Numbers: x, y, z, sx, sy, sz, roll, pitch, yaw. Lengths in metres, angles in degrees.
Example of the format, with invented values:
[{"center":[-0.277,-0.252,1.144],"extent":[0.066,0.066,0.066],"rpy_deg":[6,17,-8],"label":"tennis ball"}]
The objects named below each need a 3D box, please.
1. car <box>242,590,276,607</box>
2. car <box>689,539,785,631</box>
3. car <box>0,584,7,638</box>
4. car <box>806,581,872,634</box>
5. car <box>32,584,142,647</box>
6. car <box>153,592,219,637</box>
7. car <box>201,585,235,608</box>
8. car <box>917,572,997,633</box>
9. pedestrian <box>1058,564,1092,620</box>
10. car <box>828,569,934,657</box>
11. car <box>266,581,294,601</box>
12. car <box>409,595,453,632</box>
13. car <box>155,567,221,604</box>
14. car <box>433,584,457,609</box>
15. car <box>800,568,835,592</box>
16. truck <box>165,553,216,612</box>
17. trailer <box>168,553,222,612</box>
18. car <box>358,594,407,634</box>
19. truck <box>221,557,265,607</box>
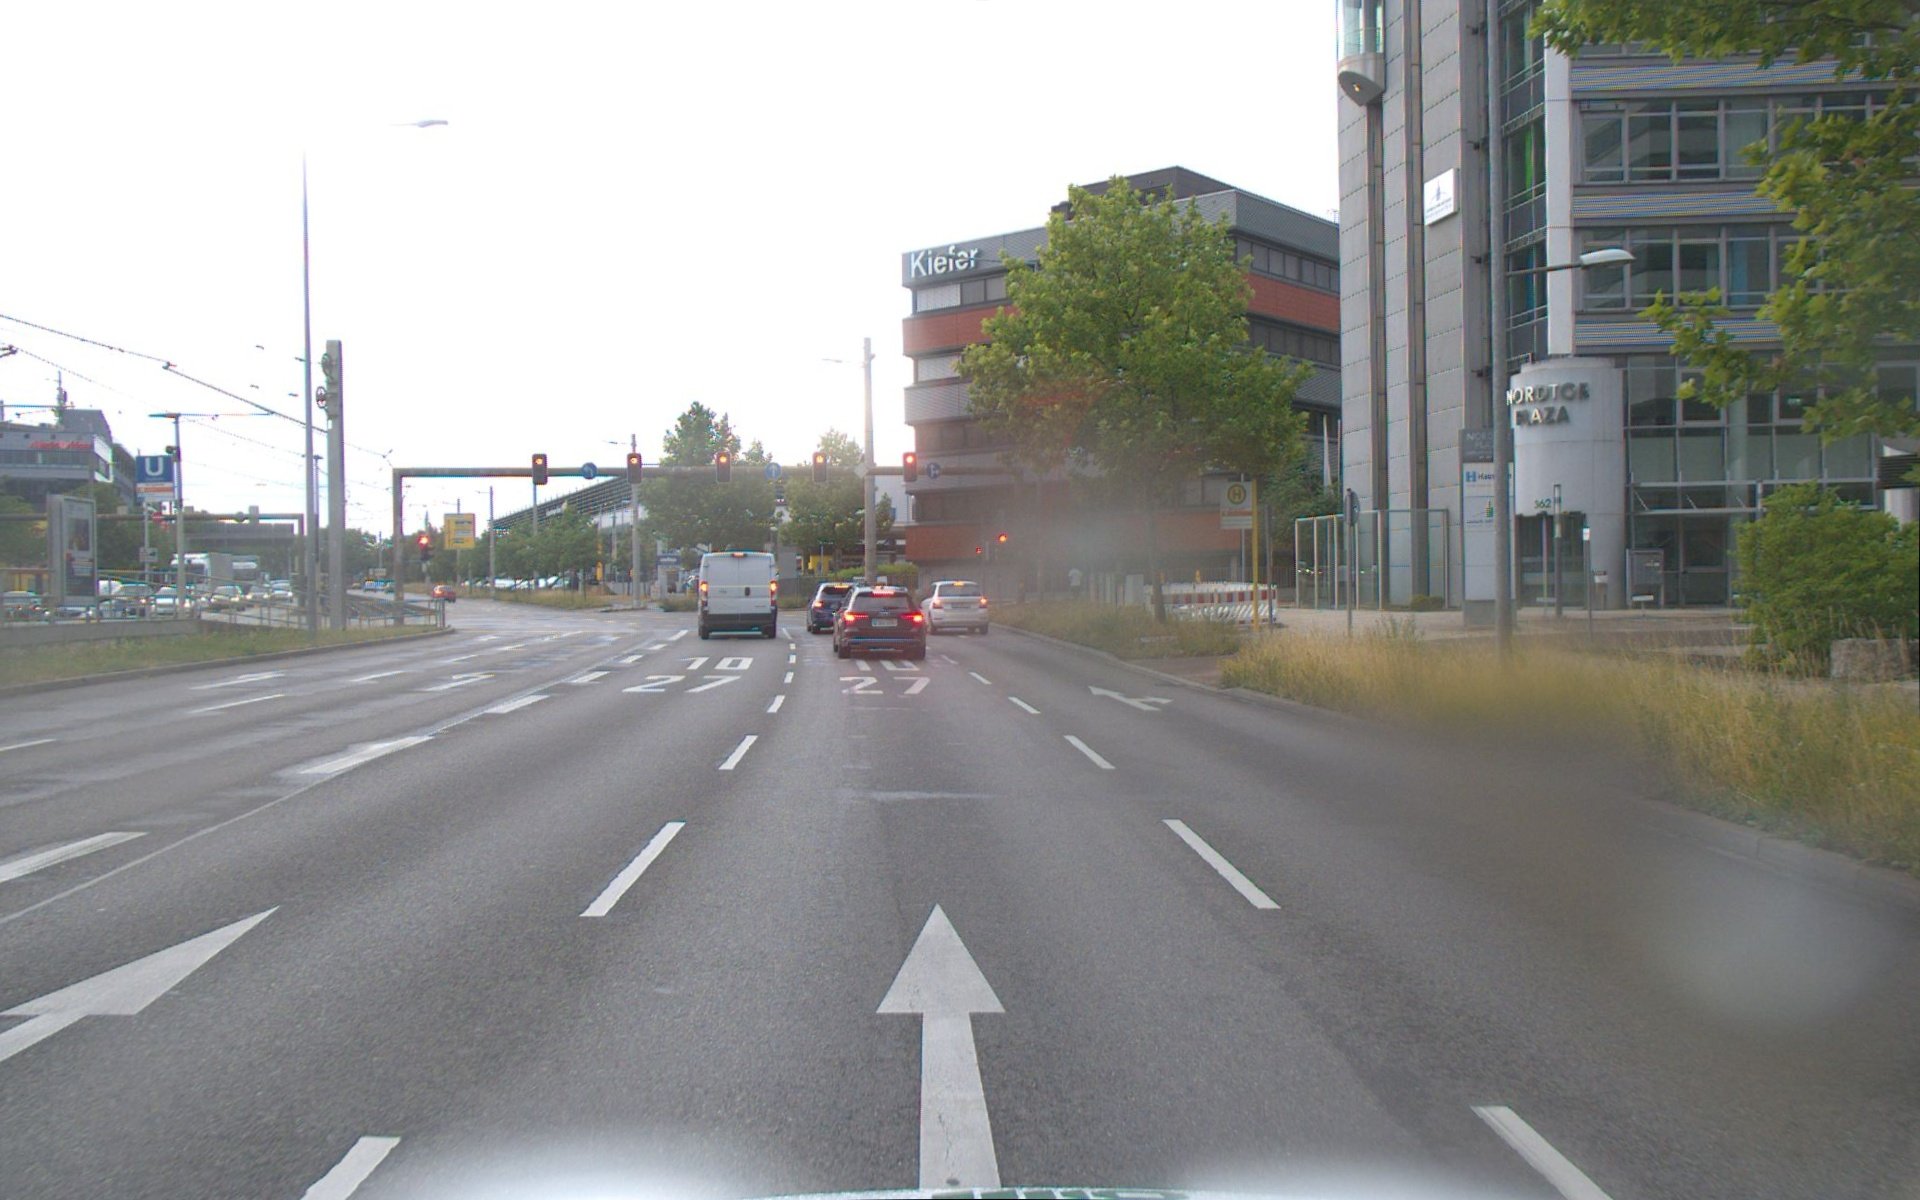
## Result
[{"center":[-54.259,-0.110,128.119],"extent":[1.877,1.286,4.395],"rpy_deg":[1,-1,-16],"label":"car"},{"center":[-6.173,-0.380,45.364],"extent":[2.401,2.334,4.893],"rpy_deg":[1,-1,-10],"label":"car"},{"center":[-31.701,0.321,51.337],"extent":[1.957,1.761,5.019],"rpy_deg":[1,-1,-9],"label":"car"},{"center":[-3.568,0.228,48.798],"extent":[1.857,1.491,3.905],"rpy_deg":[-1,0,-4],"label":"car"},{"center":[-33.272,0.581,63.200],"extent":[1.956,2.253,5.136],"rpy_deg":[1,-1,-7],"label":"car"},{"center":[-37.150,0.685,79.444],"extent":[1.740,2.049,4.337],"rpy_deg":[1,-1,-10],"label":"car"},{"center":[-49.110,-0.215,109.543],"extent":[1.713,1.488,4.128],"rpy_deg":[1,-1,-20],"label":"car"},{"center":[-0.130,0.076,47.298],"extent":[1.794,1.685,3.993],"rpy_deg":[0,0,-7],"label":"car"},{"center":[4.568,-0.329,65.719],"extent":[1.121,2.162,1.221],"rpy_deg":[-2,2,-6],"label":"pedestrian"},{"center":[-1.689,0.267,34.140],"extent":[1.955,1.666,3.995],"rpy_deg":[1,-1,-6],"label":"car"},{"center":[-59.971,-0.739,145.881],"extent":[1.857,1.681,4.076],"rpy_deg":[1,-1,-17],"label":"car"},{"center":[-30.637,0.758,95.887],"extent":[1.740,2.049,4.338],"rpy_deg":[1,0,-9],"label":"car"},{"center":[-36.963,-0.666,79.287],"extent":[1.499,1.696,4.263],"rpy_deg":[1,-1,-6],"label":"car"},{"center":[-44.946,-0.302,144.334],"extent":[1.747,2.049,4.321],"rpy_deg":[1,-1,-21],"label":"car"},{"center":[-12.661,-1.781,147.021],"extent":[1.848,2.049,3.741],"rpy_deg":[1,-1,-27],"label":"car"},{"center":[-55.007,-1.233,118.336],"extent":[2.791,4.065,5.949],"rpy_deg":[-1,1,-21],"label":"truck"},{"center":[-56.762,-1.298,122.906],"extent":[2.755,4.179,11.370],"rpy_deg":[-1,1,-21],"label":"trailer"},{"center":[-31.701,0.741,90.840],"extent":[1.740,2.049,4.338],"rpy_deg":[1,1,-9],"label":"car"},{"center":[-62.403,-1.556,144.039],"extent":[2.623,4.202,6.159],"rpy_deg":[-1,0,-16],"label":"truck"}]
